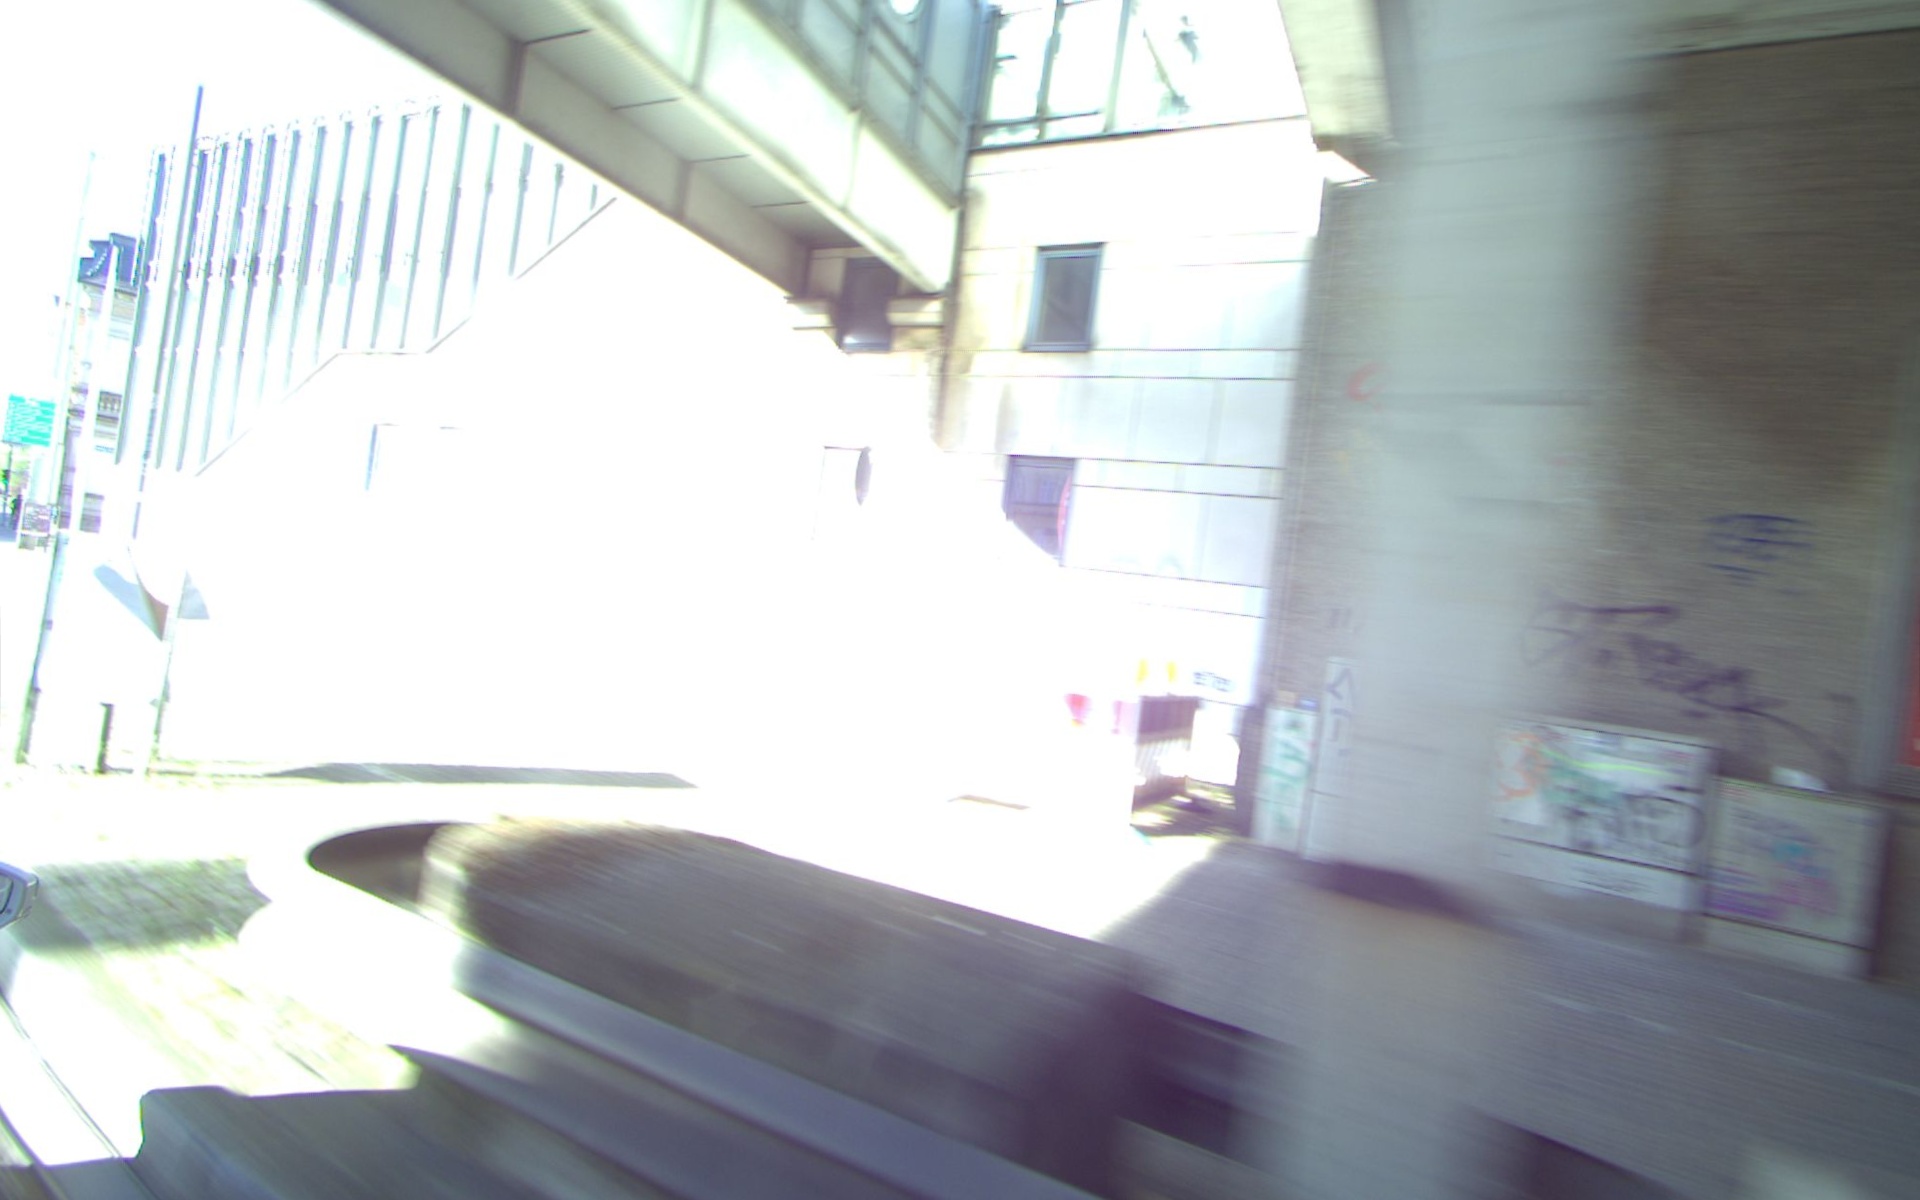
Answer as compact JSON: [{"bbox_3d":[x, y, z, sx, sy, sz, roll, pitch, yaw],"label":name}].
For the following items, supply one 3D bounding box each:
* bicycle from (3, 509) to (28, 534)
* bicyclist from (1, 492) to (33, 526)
[{"bbox_3d":[-47.293,-3.938,50.380,0.769,1.098,1.849,9,-2,-42],"label":"bicycle"},{"bbox_3d":[-47.260,-4.569,50.431,0.978,1.542,0.835,7,-2,35],"label":"bicyclist"}]
